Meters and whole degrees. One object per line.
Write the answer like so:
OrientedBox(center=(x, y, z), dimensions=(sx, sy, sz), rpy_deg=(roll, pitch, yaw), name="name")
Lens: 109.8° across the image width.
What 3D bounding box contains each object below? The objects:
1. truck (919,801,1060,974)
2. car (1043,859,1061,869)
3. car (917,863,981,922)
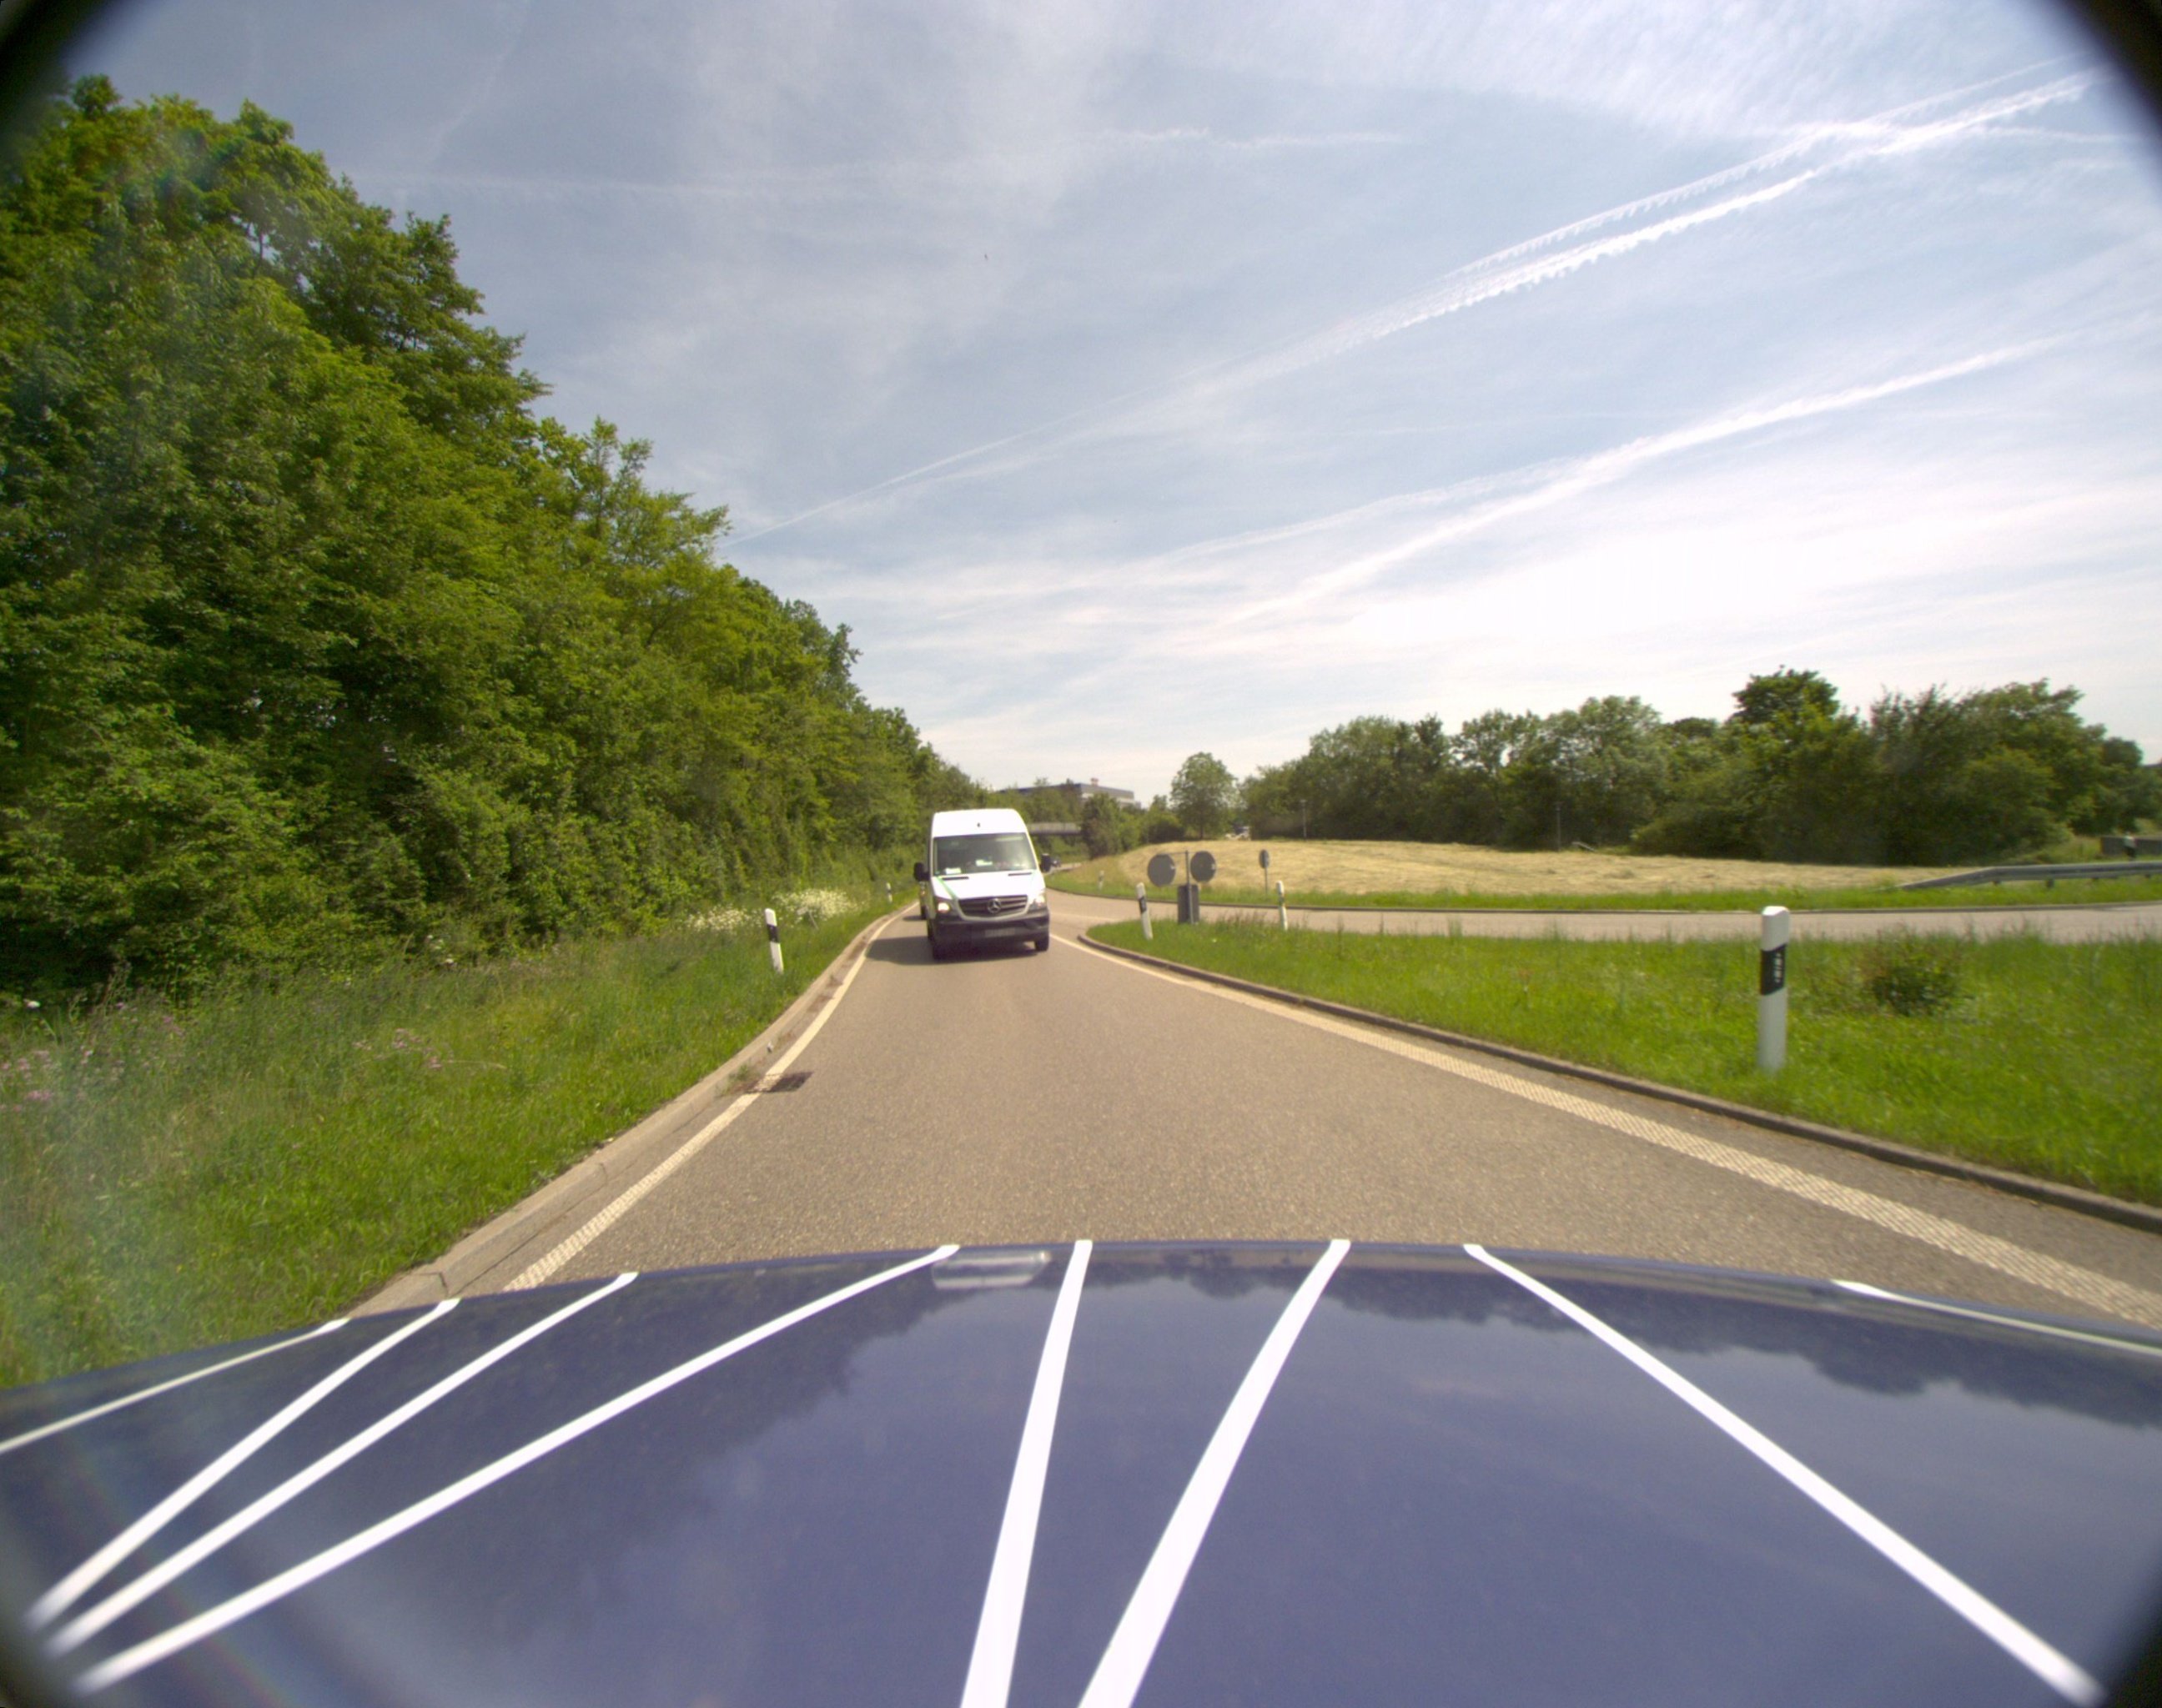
OrientedBox(center=(-2.012, 0.560, 14.631), dimensions=(2.000, 2.571, 5.882), rpy_deg=(-3, -1, -13), name="truck")
OrientedBox(center=(-4.516, 1.597, 119.754), dimensions=(1.957, 1.414, 3.941), rpy_deg=(-1, -1, 12), name="car")
OrientedBox(center=(-4.396, 1.201, 25.176), dimensions=(1.850, 1.698, 4.085), rpy_deg=(-3, 0, -11), name="car")
